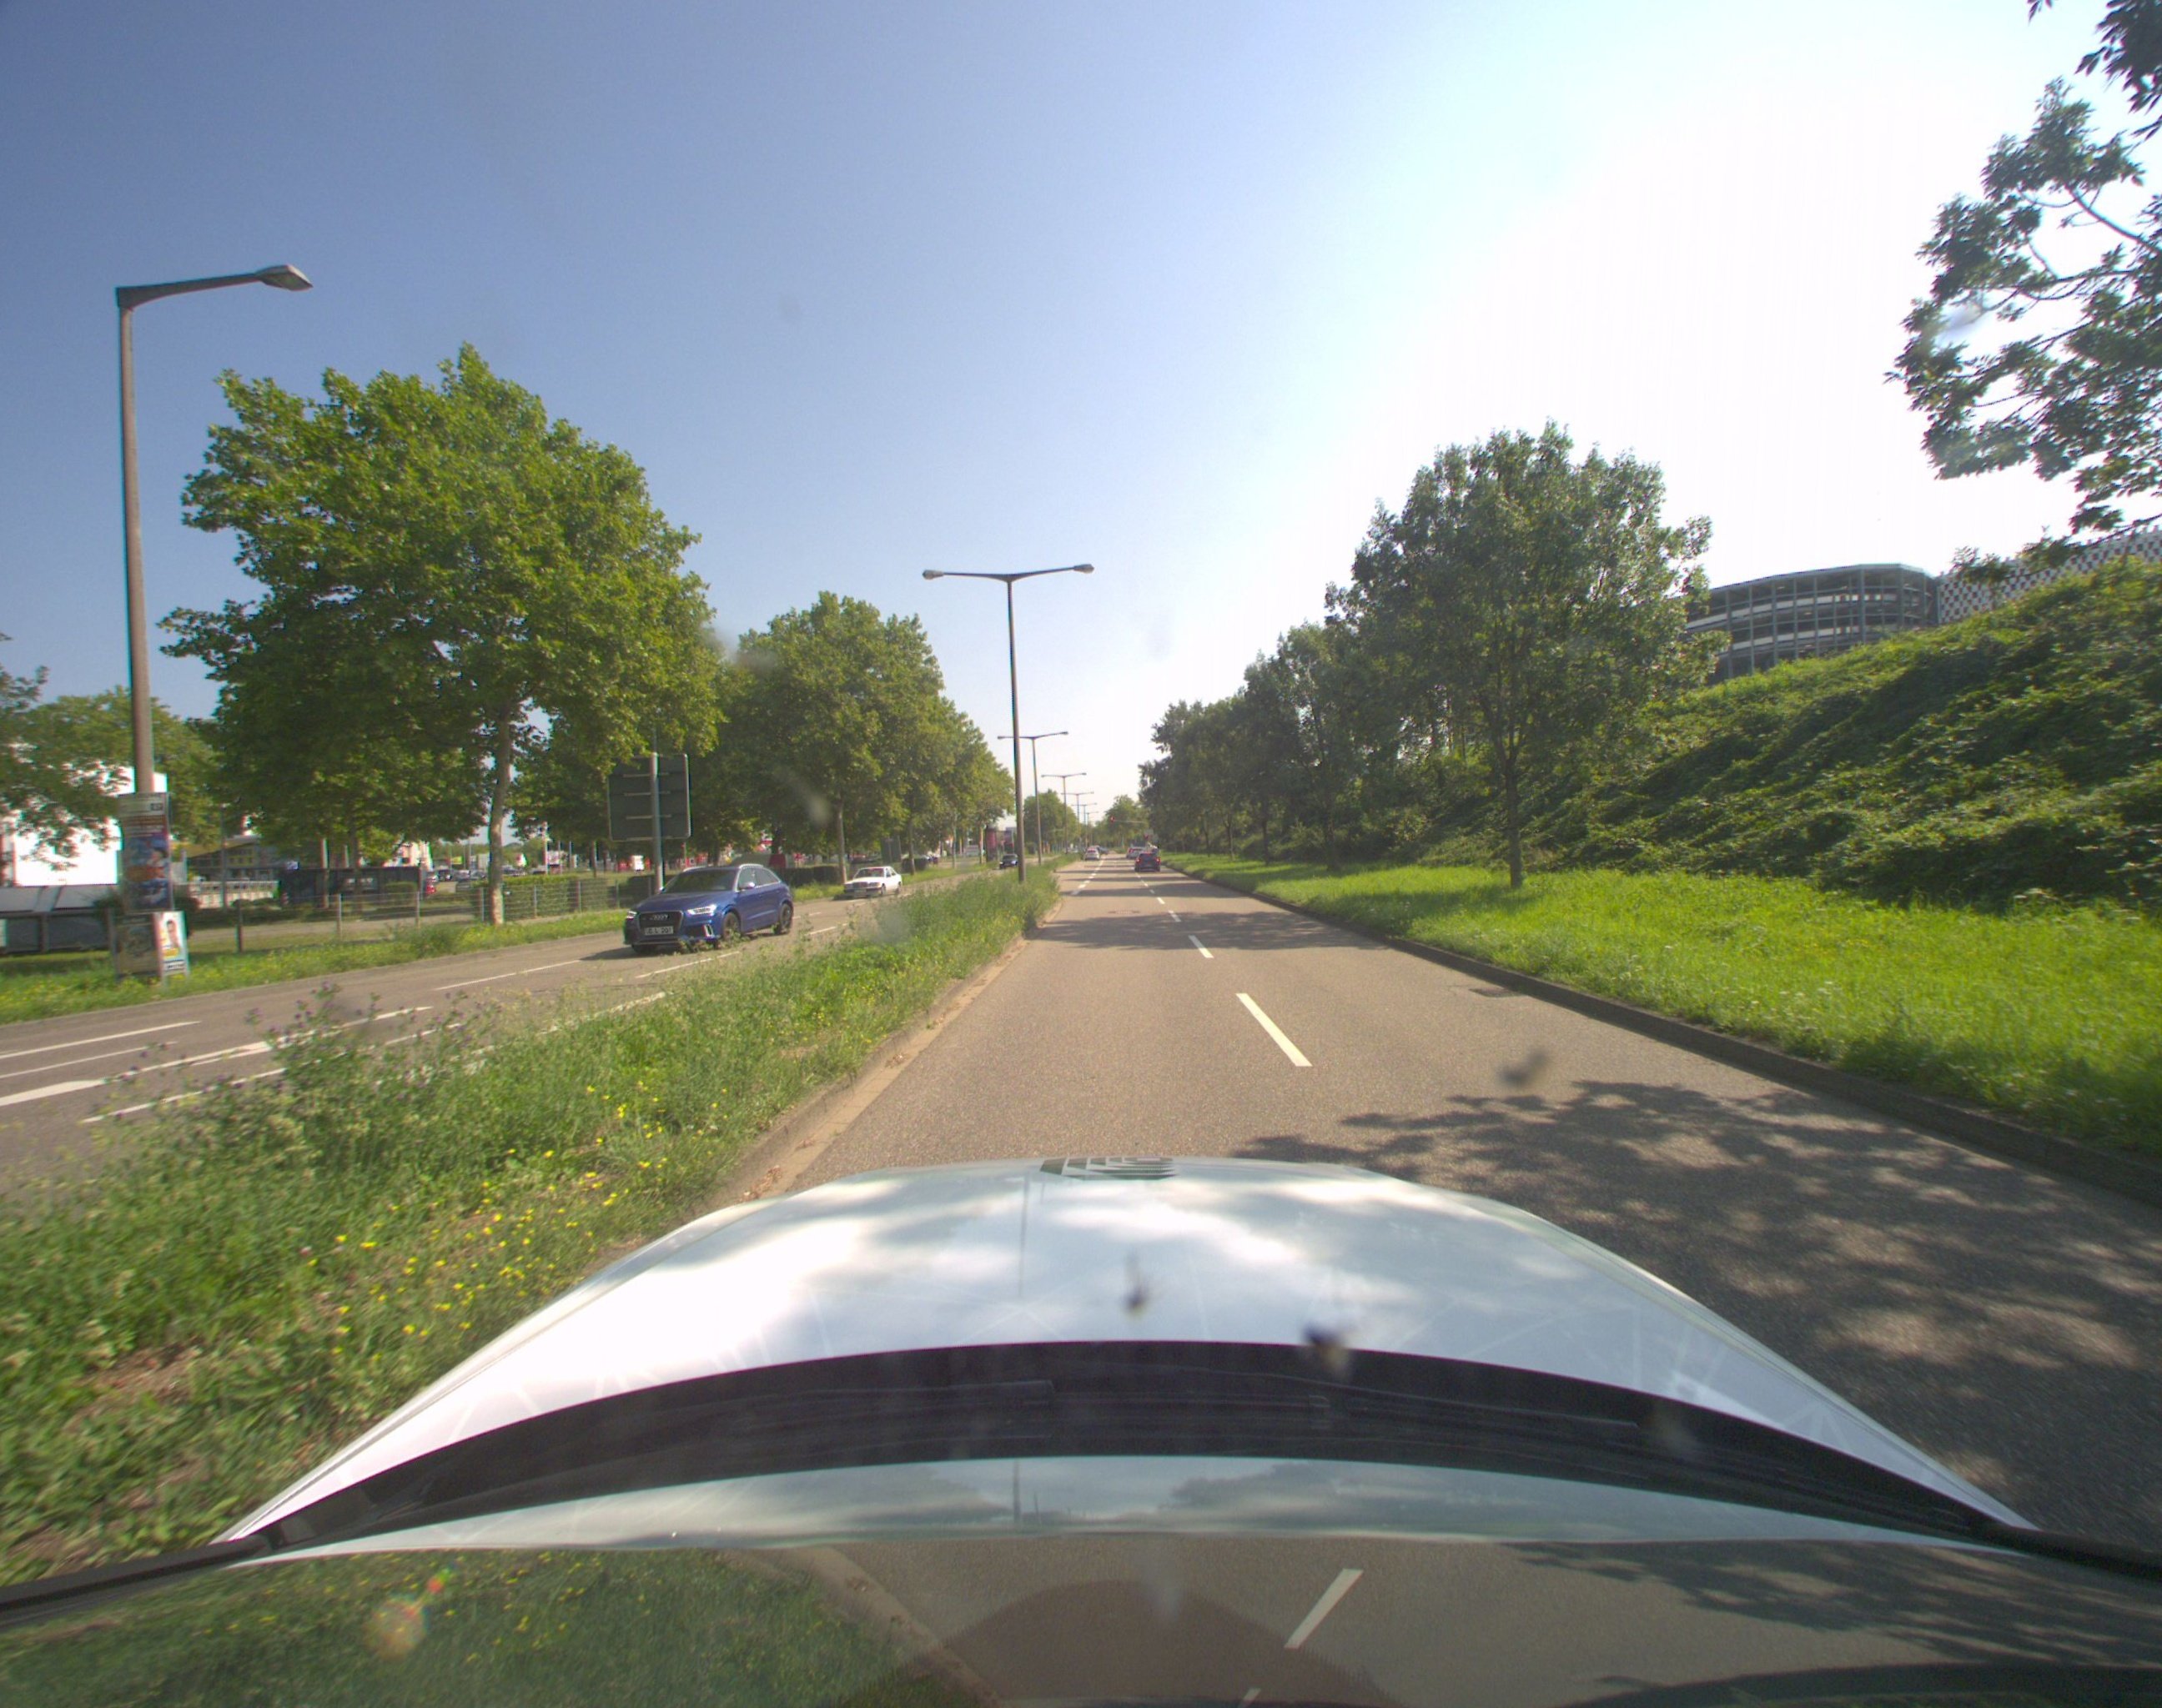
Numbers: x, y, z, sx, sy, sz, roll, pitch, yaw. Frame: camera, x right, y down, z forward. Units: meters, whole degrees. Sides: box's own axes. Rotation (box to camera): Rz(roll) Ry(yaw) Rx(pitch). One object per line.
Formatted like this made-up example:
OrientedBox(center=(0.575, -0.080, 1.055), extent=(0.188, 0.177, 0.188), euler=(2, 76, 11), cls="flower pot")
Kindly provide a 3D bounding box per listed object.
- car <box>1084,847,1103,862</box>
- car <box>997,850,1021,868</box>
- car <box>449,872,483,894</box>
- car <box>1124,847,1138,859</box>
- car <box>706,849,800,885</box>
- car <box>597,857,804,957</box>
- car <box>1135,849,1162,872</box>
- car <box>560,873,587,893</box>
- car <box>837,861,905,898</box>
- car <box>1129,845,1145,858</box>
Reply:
OrientedBox(center=(1.575, 0.055, 100.496), extent=(1.985, 1.702, 4.004), euler=(-3, 0, 3), cls="car")
OrientedBox(center=(-7.278, 0.466, 82.634), extent=(1.986, 1.561, 4.003), euler=(-1, 3, 2), cls="car")
OrientedBox(center=(-51.828, 2.433, 68.676), extent=(1.940, 1.452, 3.959), euler=(-2, 3, -33), cls="car")
OrientedBox(center=(7.445, -0.141, 122.161), extent=(1.986, 1.654, 4.002), euler=(-1, 2, 1), cls="car")
OrientedBox(center=(-22.987, 0.880, 57.184), extent=(5.565, 2.336, 2.279), euler=(-1, 3, 0), cls="car")
OrientedBox(center=(-7.398, 0.937, 16.418), extent=(1.987, 1.585, 4.346), euler=(-4, 0, 0), cls="car")
OrientedBox(center=(4.876, 0.435, 59.269), extent=(1.773, 1.427, 4.004), euler=(-1, 3, 2), cls="car")
OrientedBox(center=(-44.868, 2.551, 71.975), extent=(1.940, 1.452, 3.959), euler=(-2, 3, -33), cls="car")
OrientedBox(center=(-9.367, 1.092, 36.725), extent=(1.789, 1.417, 4.410), euler=(-4, 0, 1), cls="car")
OrientedBox(center=(7.458, -0.348, 108.609), extent=(1.986, 1.654, 4.002), euler=(-3, 0, 2), cls="car")
